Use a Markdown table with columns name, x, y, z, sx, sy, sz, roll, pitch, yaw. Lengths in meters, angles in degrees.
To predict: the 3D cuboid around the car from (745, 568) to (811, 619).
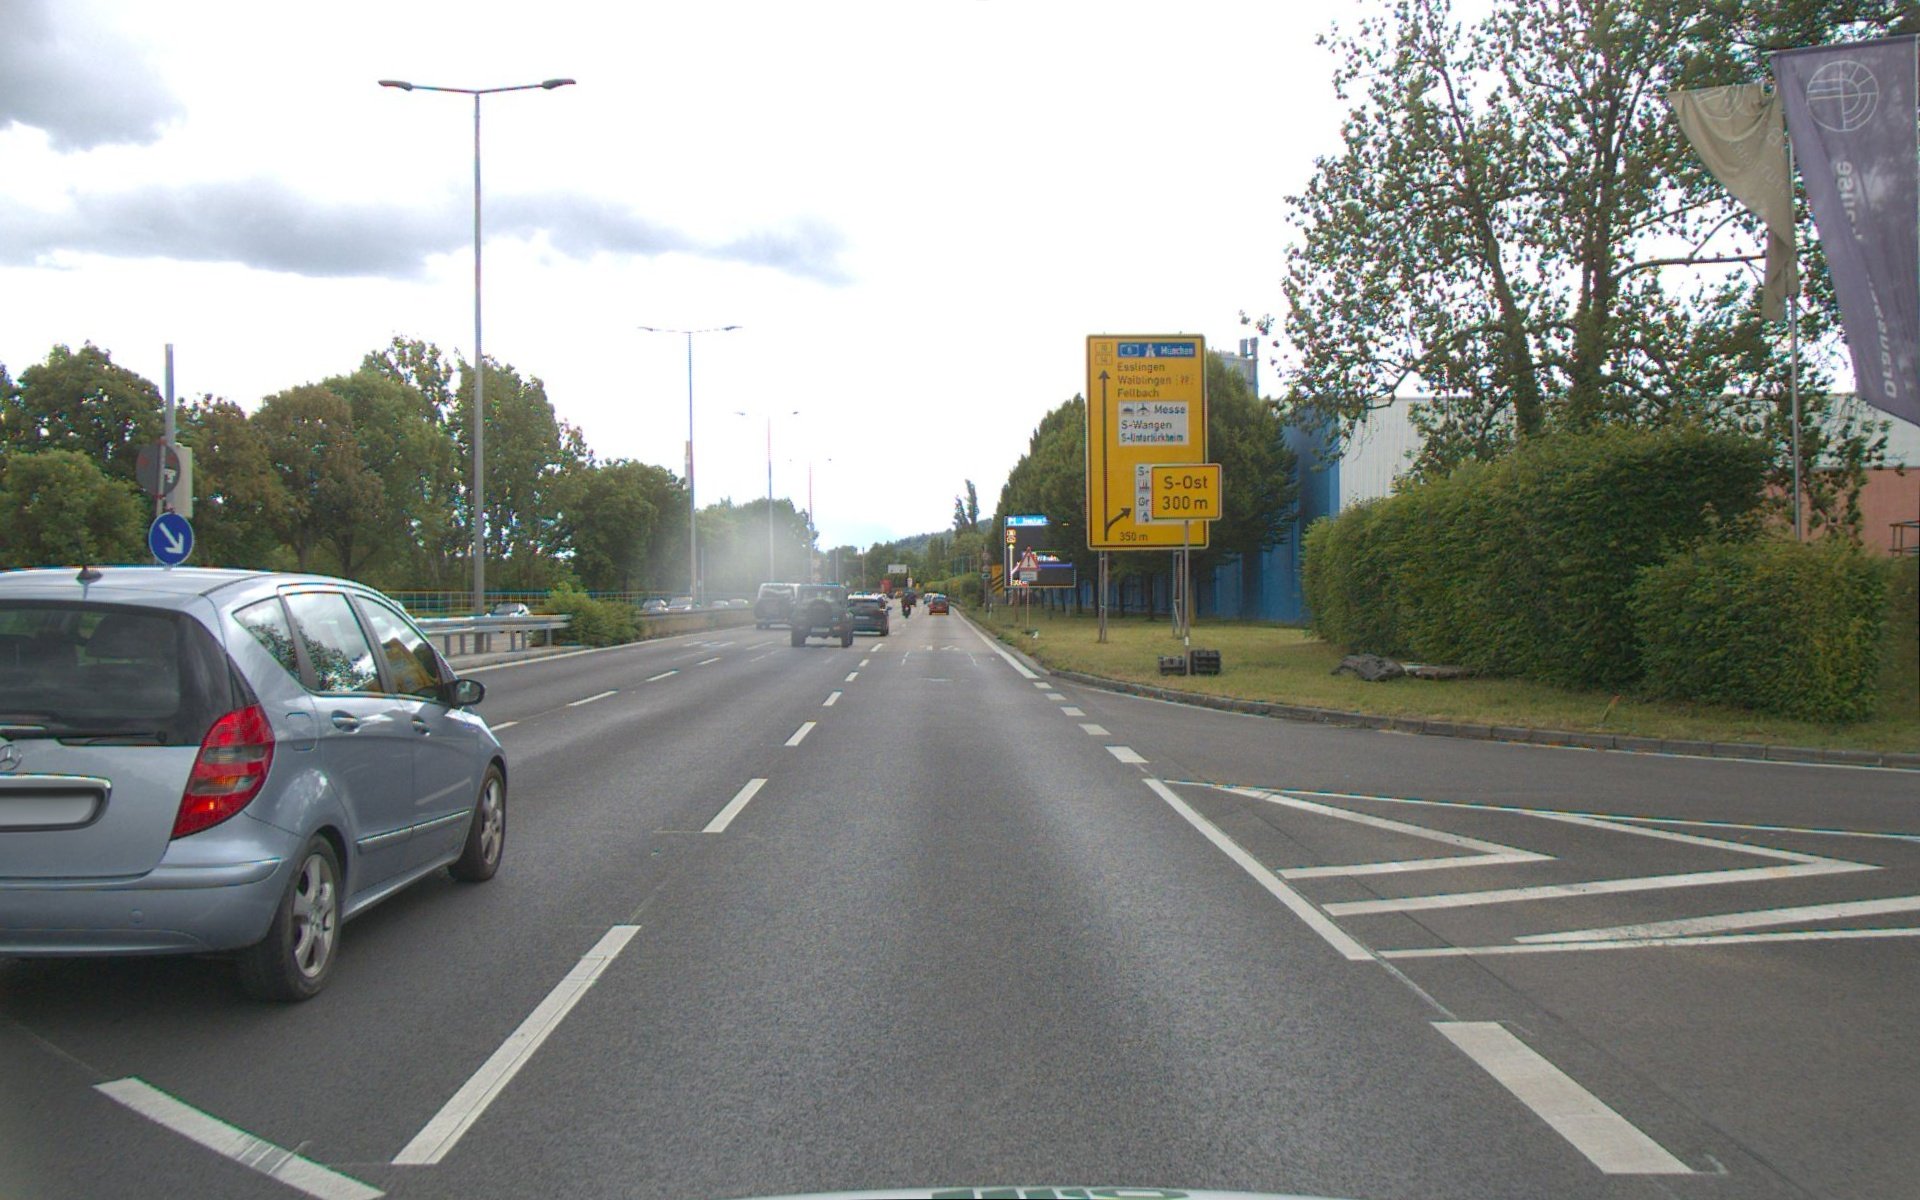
| name | x | y | z | sx | sy | sz | roll | pitch | yaw |
| --- | --- | --- | --- | --- | --- | --- | --- | --- | --- |
| car | -7.470 | -0.281 | 68.315 | 2.169 | 1.959 | 5.002 | 2 | 1 | 0 |

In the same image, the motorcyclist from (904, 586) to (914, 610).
| name | x | y | z | sx | sy | sz | roll | pitch | yaw |
| --- | --- | --- | --- | --- | --- | --- | --- | --- | --- |
| motorcyclist | -3.529 | -0.134 | 114.600 | 0.670 | 1.638 | 0.845 | 2 | 1 | 0 |

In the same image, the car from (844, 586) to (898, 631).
| name | x | y | z | sx | sy | sz | roll | pitch | yaw |
| --- | --- | --- | --- | --- | --- | --- | --- | --- | --- |
| car | -3.216 | 0.276 | 60.110 | 1.803 | 1.489 | 3.999 | 2 | 1 | -2 |

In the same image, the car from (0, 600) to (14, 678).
| name | x | y | z | sx | sy | sz | roll | pitch | yaw |
| --- | --- | --- | --- | --- | --- | --- | --- | --- | --- |
| car | -18.972 | 0.743 | 30.536 | 1.443 | 1.488 | 2.736 | 2 | 1 | -1 |

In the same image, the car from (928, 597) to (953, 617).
| name | x | y | z | sx | sy | sz | roll | pitch | yaw |
| --- | --- | --- | --- | --- | --- | --- | --- | --- | --- |
| car | -1.670 | 0.586 | 137.861 | 1.953 | 1.579 | 3.998 | 2 | 1 | -2 |

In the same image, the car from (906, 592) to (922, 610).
| name | x | y | z | sx | sy | sz | roll | pitch | yaw |
| --- | --- | --- | --- | --- | --- | --- | --- | --- | --- |
| car | -5.720 | 0.121 | 206.321 | 1.953 | 2.048 | 3.999 | 2 | 1 | -1 |

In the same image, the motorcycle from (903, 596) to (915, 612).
| name | x | y | z | sx | sy | sz | roll | pitch | yaw |
| --- | --- | --- | --- | --- | --- | --- | --- | --- | --- |
| motorcycle | -3.538 | 0.248 | 114.444 | 0.692 | 1.058 | 2.027 | 2 | 1 | 0 |

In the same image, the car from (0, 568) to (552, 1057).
| name | x | y | z | sx | sy | sz | roll | pitch | yaw |
| --- | --- | --- | --- | --- | --- | --- | --- | --- | --- |
| car | -3.116 | 0.664 | 7.375 | 1.676 | 1.556 | 3.999 | 2 | 1 | -2 |

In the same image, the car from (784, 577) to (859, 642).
| name | x | y | z | sx | sy | sz | roll | pitch | yaw |
| --- | --- | --- | --- | --- | --- | --- | --- | --- | --- |
| car | -3.855 | 0.232 | 46.590 | 1.869 | 1.713 | 3.999 | 2 | 1 | -2 |

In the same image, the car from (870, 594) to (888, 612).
| name | x | y | z | sx | sy | sz | roll | pitch | yaw |
| --- | --- | --- | --- | --- | --- | --- | --- | --- | --- |
| car | -9.544 | 0.335 | 195.262 | 1.953 | 2.048 | 3.999 | 2 | 1 | -1 |

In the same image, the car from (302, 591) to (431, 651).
| name | x | y | z | sx | sy | sz | roll | pitch | yaw |
| --- | --- | --- | --- | --- | --- | --- | --- | --- | --- |
| car | -16.673 | 0.555 | 46.740 | 1.953 | 1.519 | 4.804 | 2 | 1 | -1 |

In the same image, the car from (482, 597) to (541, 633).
| name | x | y | z | sx | sy | sz | roll | pitch | yaw |
| --- | --- | --- | --- | --- | --- | --- | --- | --- | --- |
| car | -23.028 | 0.760 | 85.057 | 1.953 | 1.668 | 3.999 | 2 | 1 | -1 |
